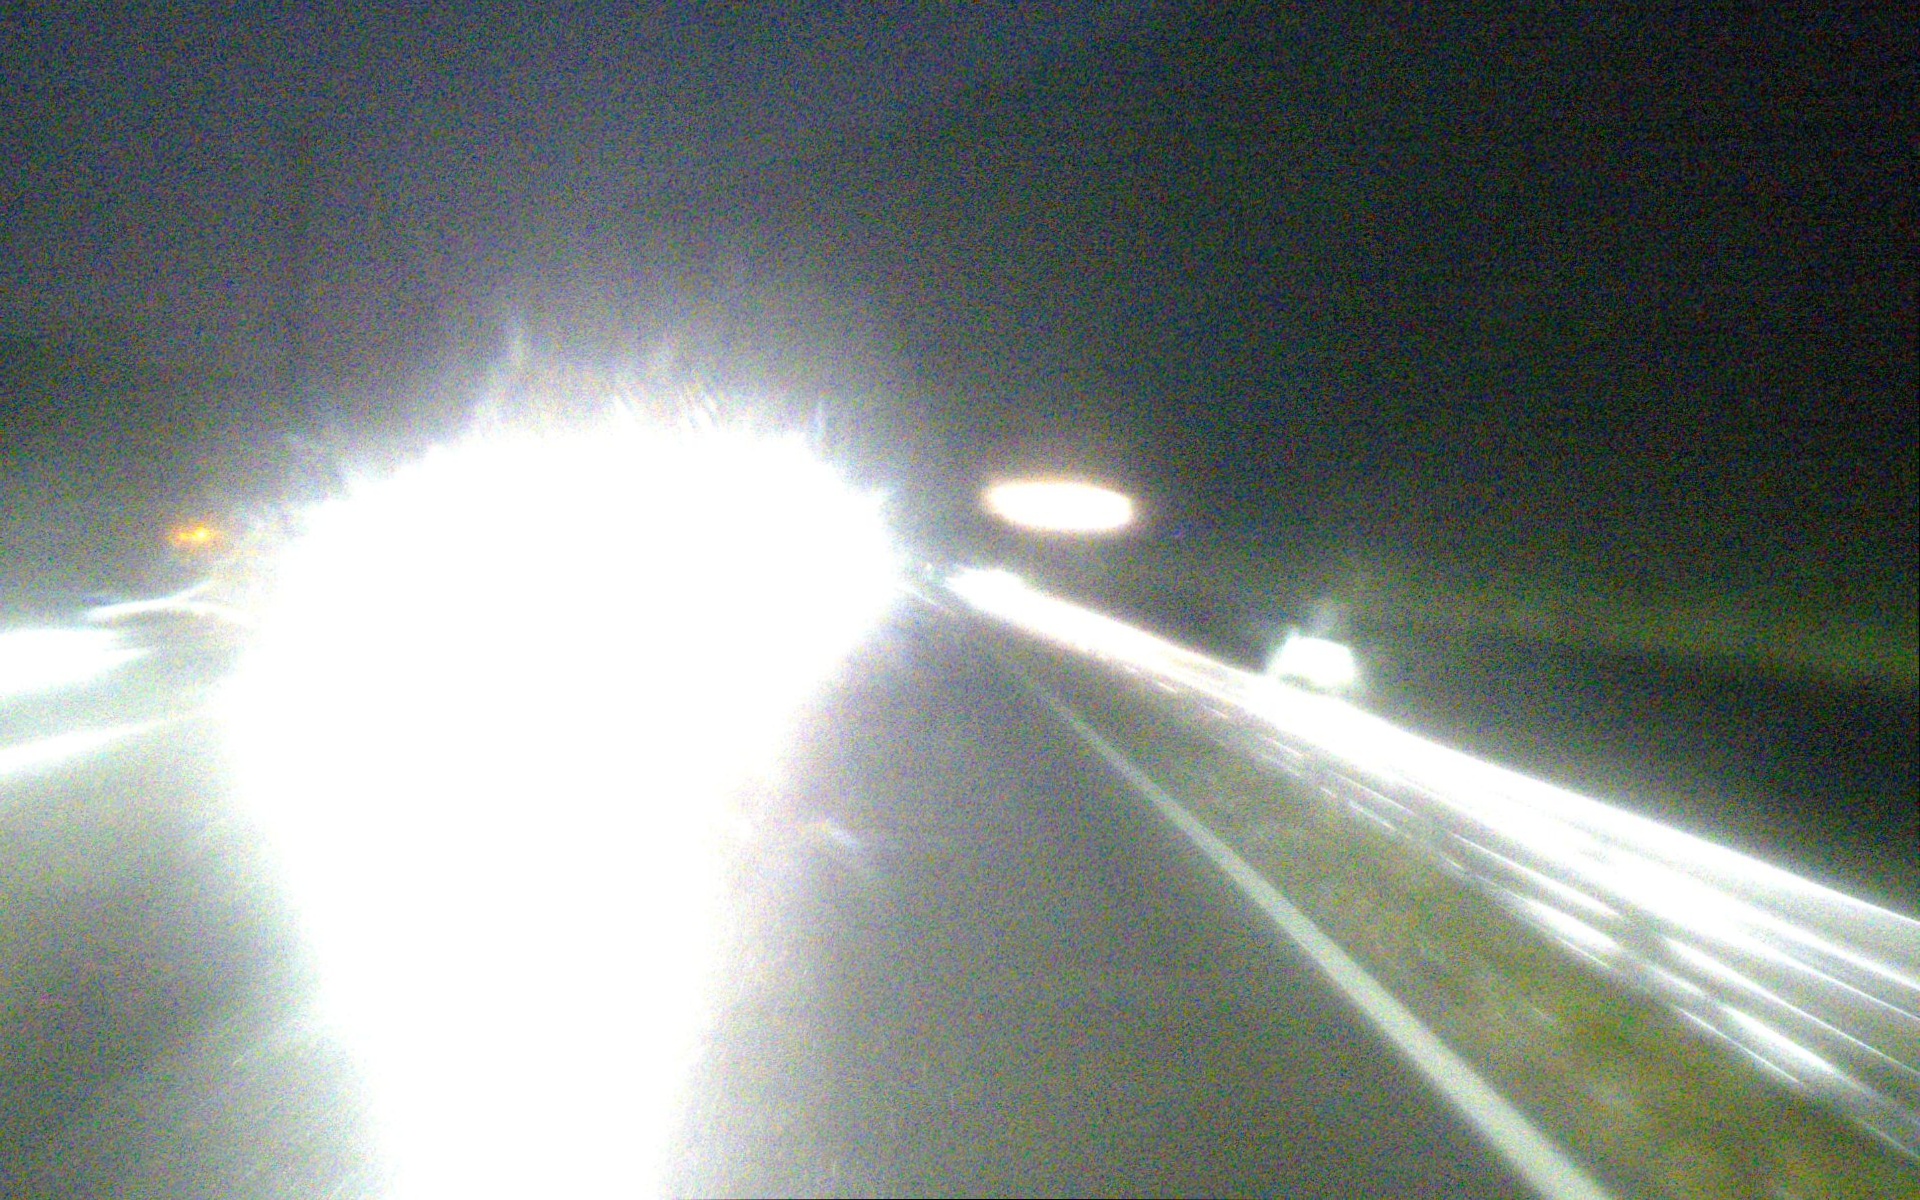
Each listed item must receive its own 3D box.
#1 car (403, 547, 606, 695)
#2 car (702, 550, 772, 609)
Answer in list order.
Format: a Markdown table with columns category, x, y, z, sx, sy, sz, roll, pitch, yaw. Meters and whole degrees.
| category | x | y | z | sx | sy | sz | roll | pitch | yaw |
| --- | --- | --- | --- | --- | --- | --- | --- | --- | --- |
| car | -4.457 | 0.167 | 34.054 | 1.641 | 1.355 | 3.681 | 1 | 1 | -2 |
| car | -6.302 | -0.591 | 97.537 | 1.868 | 1.607 | 3.847 | 1 | 1 | -2 |
